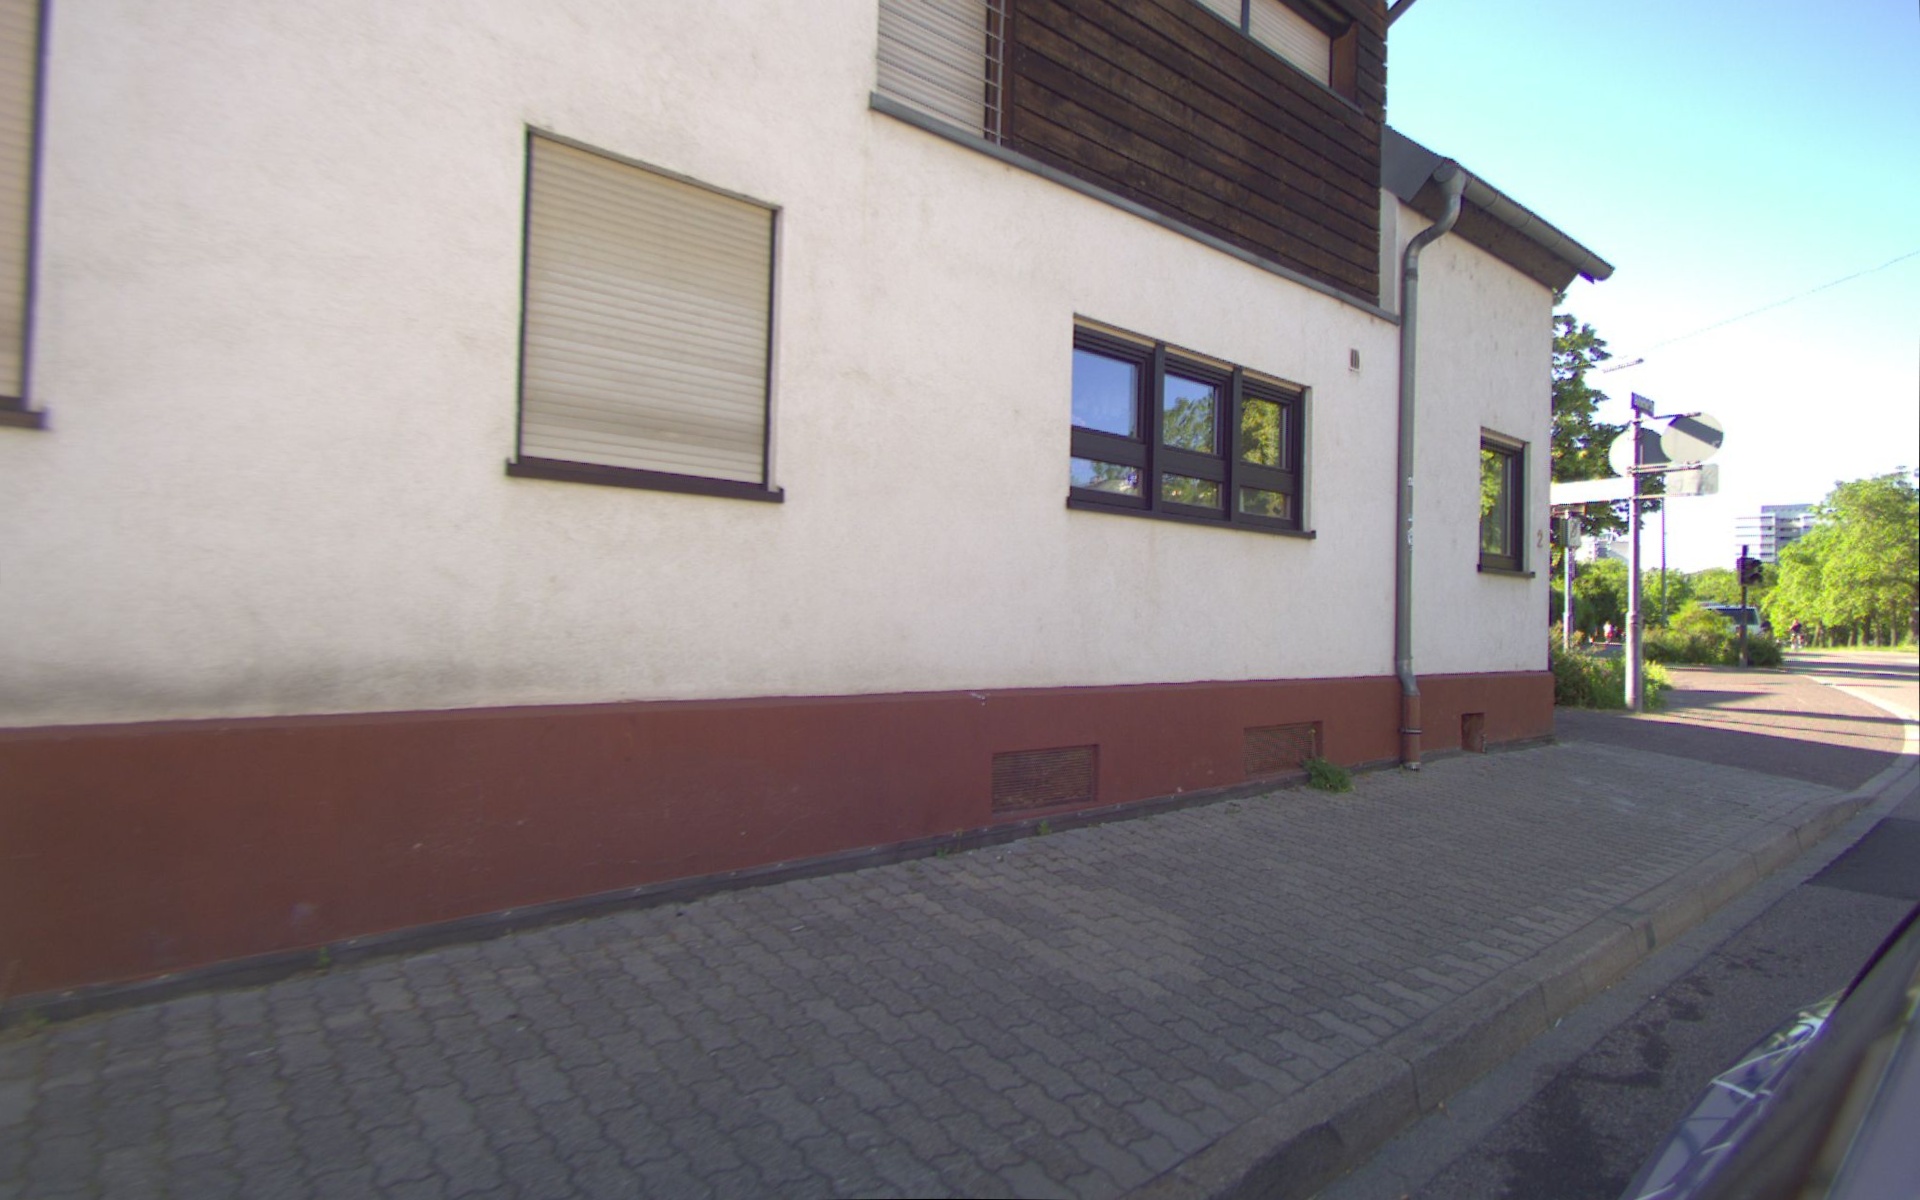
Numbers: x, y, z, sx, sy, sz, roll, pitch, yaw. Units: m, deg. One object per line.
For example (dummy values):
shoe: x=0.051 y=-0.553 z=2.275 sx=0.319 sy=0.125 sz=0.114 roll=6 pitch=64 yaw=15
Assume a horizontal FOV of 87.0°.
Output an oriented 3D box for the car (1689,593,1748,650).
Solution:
car: x=37.710 y=1.056 z=50.400 sx=1.949 sy=2.678 sz=5.160 roll=0 pitch=-1 yaw=33

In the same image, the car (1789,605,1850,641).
car: x=49.077 y=1.273 z=57.863 sx=1.951 sy=1.944 sz=4.525 roll=0 pitch=0 yaw=32

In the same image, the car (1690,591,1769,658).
car: x=26.142 y=0.782 z=34.327 sx=1.990 sy=2.105 sz=4.512 roll=0 pitch=-1 yaw=39
